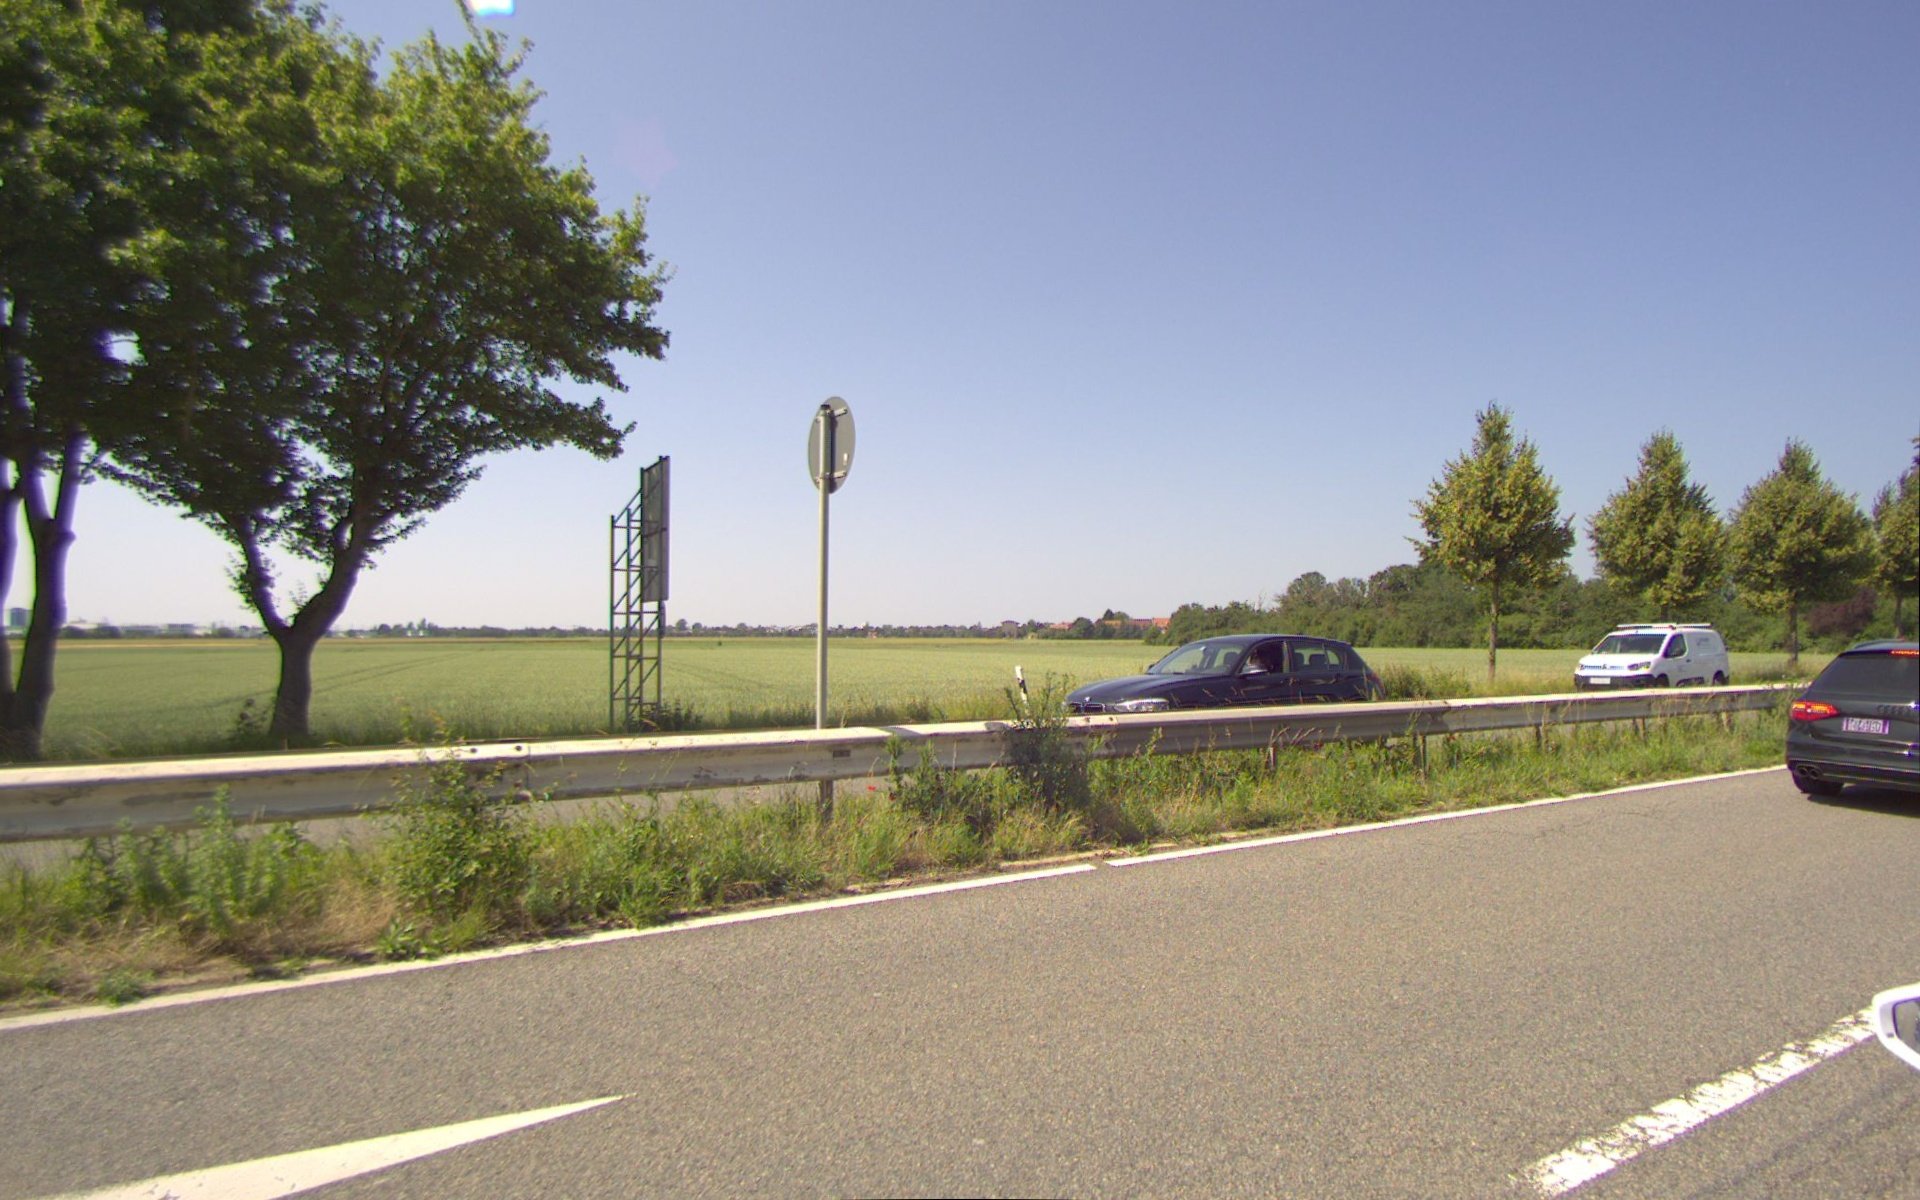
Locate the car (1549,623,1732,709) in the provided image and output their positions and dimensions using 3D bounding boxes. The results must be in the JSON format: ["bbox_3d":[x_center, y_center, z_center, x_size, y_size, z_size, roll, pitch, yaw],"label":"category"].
[{"bbox_3d":[17.103,1.584,25.187,4.775,1.977,1.984,1,-2,-31],"label":"car"}]

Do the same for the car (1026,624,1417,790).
[{"bbox_3d":[3.156,1.126,11.899,4.429,1.624,1.984,1,-2,-31],"label":"car"}]

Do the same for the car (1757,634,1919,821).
[{"bbox_3d":[9.141,1.034,8.951,4.403,1.399,1.732,1,-1,-30],"label":"car"}]
